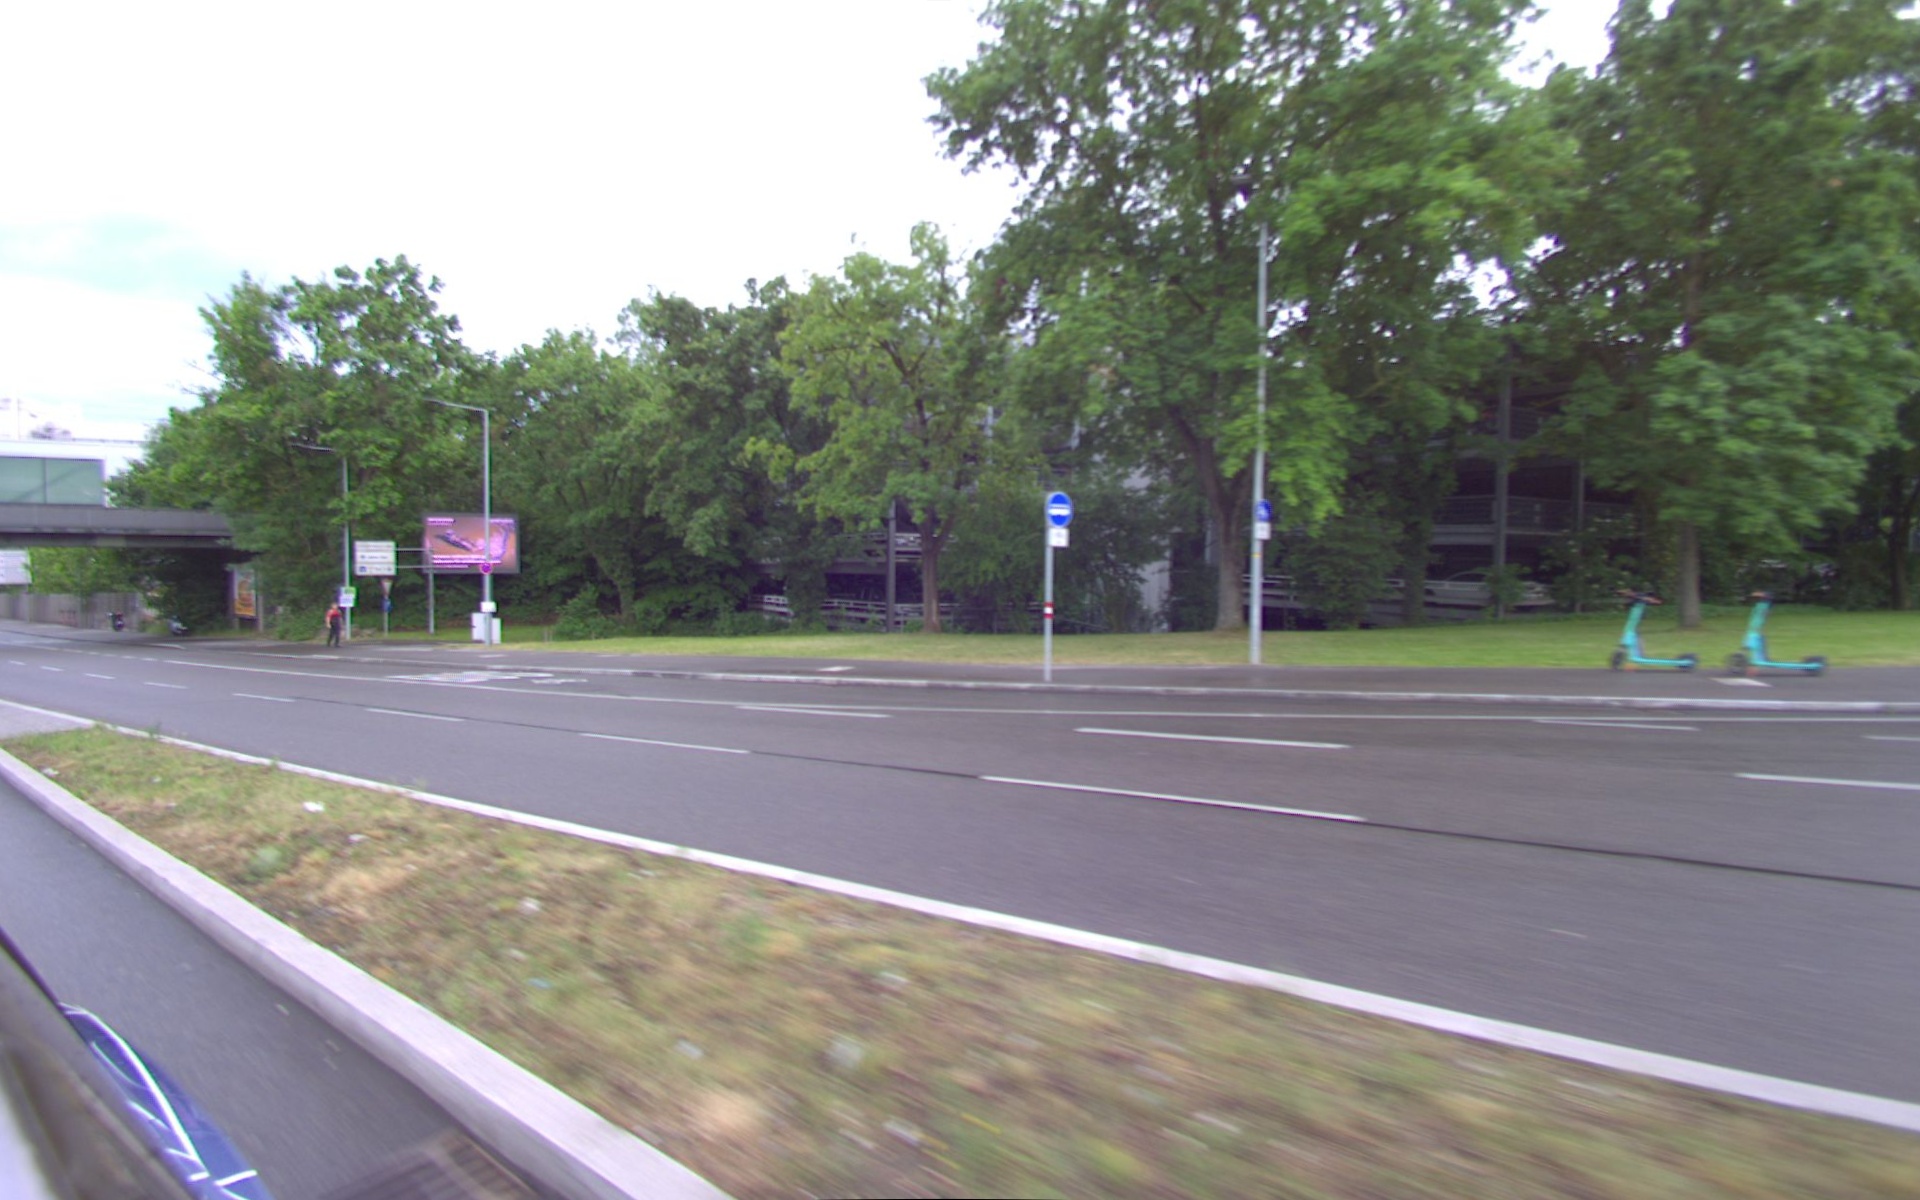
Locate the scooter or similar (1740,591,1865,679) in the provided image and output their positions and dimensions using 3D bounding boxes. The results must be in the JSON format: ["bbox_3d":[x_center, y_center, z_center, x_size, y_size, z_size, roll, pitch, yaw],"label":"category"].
[{"bbox_3d":[12.015,0.501,14.460,1.301,1.227,0.309,-2,0,27],"label":"scooter or similar"}]

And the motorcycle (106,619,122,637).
[{"bbox_3d":[-57.027,1.886,68.221,1.995,1.214,0.464,-1,0,41],"label":"motorcycle"}]

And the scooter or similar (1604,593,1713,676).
[{"bbox_3d":[10.668,0.527,15.486,1.301,1.227,0.309,-2,0,27],"label":"scooter or similar"}]

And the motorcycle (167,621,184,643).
[{"bbox_3d":[-44.098,1.792,56.883,1.933,1.167,0.463,-1,0,44],"label":"motorcycle"}]

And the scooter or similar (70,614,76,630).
[{"bbox_3d":[-68.990,1.732,78.700,0.308,1.227,1.308,0,0,-44],"label":"scooter or similar"}]

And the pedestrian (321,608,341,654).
[{"bbox_3d":[-25.267,1.244,40.651,0.513,1.829,0.801,-2,1,-39],"label":"pedestrian"}]

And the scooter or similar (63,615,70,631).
[{"bbox_3d":[-70.870,1.837,80.234,0.307,1.227,1.310,0,0,-37],"label":"scooter or similar"}]
